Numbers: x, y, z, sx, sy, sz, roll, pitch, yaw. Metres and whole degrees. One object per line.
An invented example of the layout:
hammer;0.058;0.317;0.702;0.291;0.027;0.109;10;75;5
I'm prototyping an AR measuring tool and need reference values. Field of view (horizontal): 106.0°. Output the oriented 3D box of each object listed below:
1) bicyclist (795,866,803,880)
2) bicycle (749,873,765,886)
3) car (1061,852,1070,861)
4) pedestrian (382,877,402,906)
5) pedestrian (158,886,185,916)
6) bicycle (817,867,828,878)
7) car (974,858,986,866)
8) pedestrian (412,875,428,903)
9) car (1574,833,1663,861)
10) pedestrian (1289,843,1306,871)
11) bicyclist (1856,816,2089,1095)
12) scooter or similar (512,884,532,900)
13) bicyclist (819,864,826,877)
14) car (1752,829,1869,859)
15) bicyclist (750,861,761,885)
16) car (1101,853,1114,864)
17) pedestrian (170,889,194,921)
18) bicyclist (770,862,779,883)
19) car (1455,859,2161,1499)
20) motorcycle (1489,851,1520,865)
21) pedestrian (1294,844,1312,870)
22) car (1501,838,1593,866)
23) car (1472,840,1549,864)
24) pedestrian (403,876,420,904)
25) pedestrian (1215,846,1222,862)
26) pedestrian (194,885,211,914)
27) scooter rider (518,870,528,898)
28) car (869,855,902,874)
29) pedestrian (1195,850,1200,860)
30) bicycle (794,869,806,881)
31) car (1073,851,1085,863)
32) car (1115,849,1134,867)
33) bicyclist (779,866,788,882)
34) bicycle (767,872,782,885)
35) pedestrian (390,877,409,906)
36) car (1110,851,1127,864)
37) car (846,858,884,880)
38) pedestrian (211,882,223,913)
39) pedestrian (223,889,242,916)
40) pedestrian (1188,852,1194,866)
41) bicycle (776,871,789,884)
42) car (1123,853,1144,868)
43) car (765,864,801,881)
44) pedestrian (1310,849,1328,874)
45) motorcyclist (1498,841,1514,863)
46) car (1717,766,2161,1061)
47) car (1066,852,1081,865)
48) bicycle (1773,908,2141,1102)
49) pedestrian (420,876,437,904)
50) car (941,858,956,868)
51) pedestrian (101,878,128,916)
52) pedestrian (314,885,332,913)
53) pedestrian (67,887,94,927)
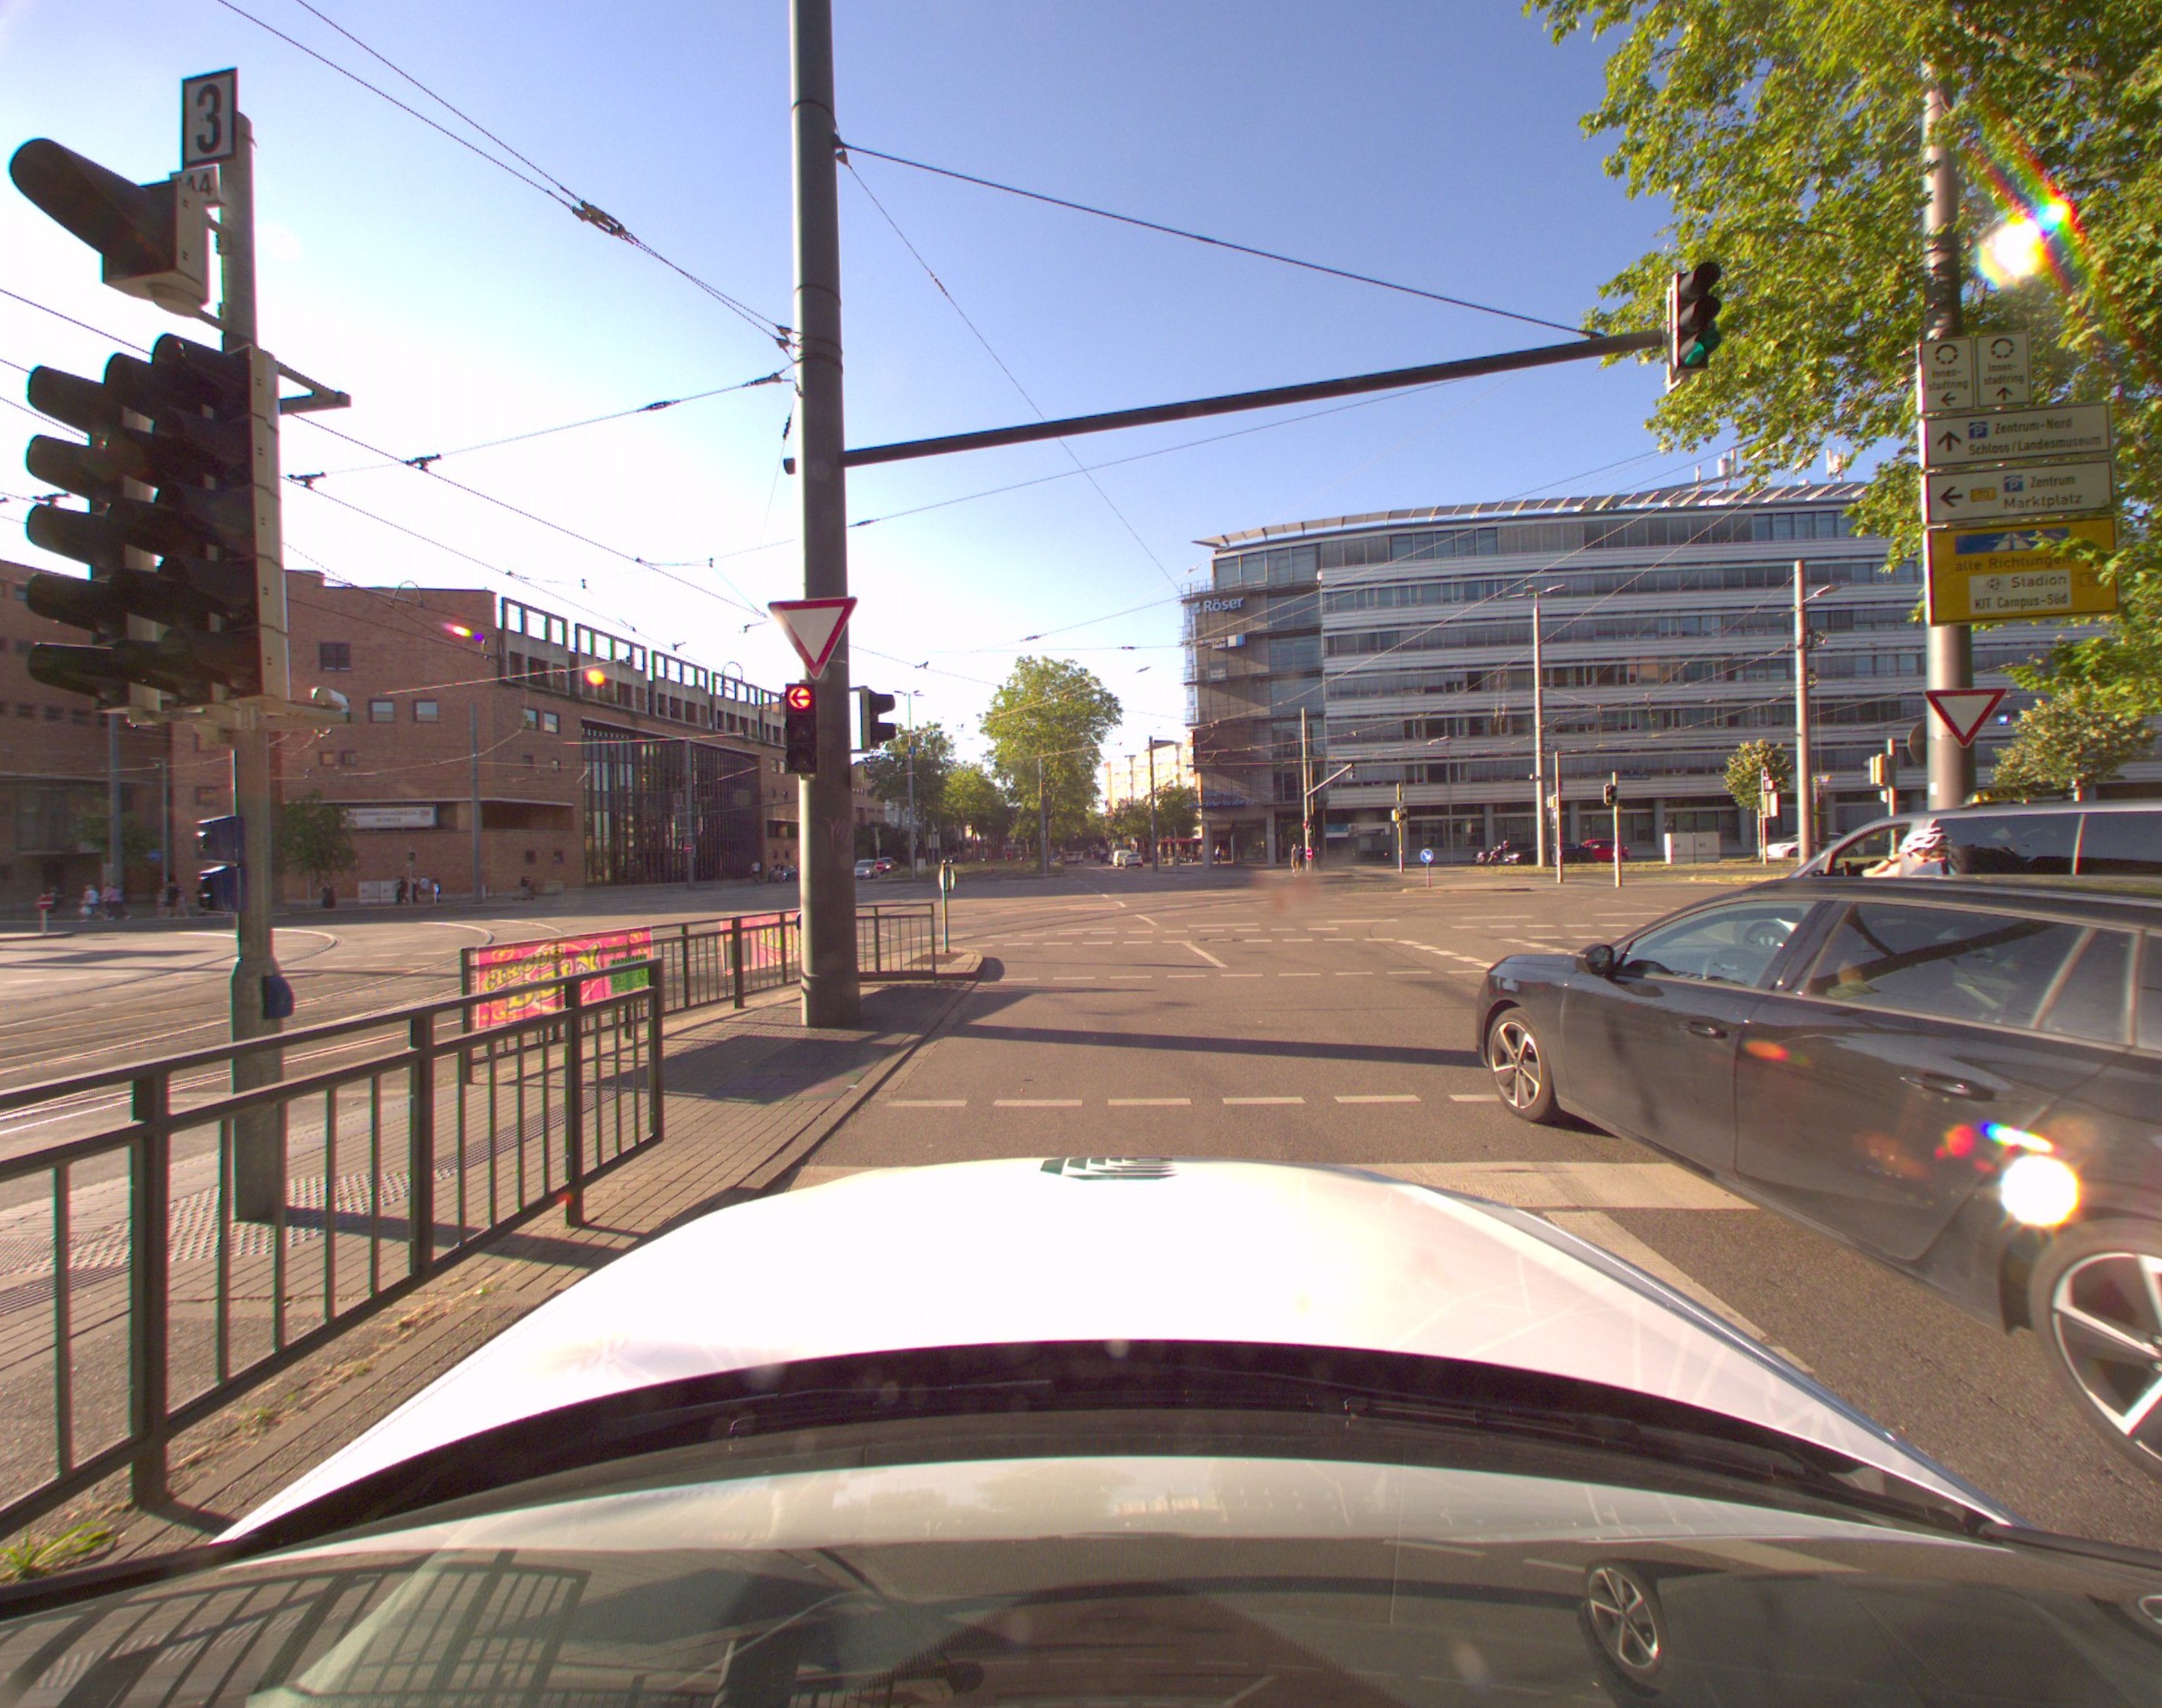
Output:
bicyclist;-24.361;1.645;70.354;0.503;1.179;0.581;-2;0;1
bicycle;-24.584;1.917;61.769;0.540;0.963;1.587;-2;0;2
car;-3.699;0.658;198.062;1.986;2.013;4.001;-2;0;1
pedestrian;-41.666;2.241;49.224;0.619;1.683;0.649;-2;0;-7
pedestrian;-41.272;2.132;36.964;0.596;1.339;0.685;-2;0;31
bicycle;-24.582;1.741;77.569;0.490;0.963;1.487;-2;0;2
car;-23.193;1.889;186.765;1.986;1.816;4.002;-2;0;2
pedestrian;-41.344;2.195;50.941;0.592;1.683;0.501;-2;0;-7
car;31.932;-0.394;48.480;3.966;1.393;1.789;-4;0;7
pedestrian;13.951;0.181;52.503;0.860;1.788;0.872;-2;0;2
bicyclist;5.840;0.621;5.388;0.629;1.692;0.780;-2;0;1
scooter or similar;-33.727;2.284;49.150;0.956;0.899;0.173;-2;0;-45
bicyclist;-24.565;1.531;77.402;0.503;1.210;0.581;-2;0;1
car;40.209;-0.557;44.950;4.581;1.336;1.789;-4;0;7
bicyclist;-24.617;1.424;61.633;0.534;1.731;0.581;-2;0;1
car;4.092;0.658;126.778;1.986;1.618;4.002;-2;0;2
pedestrian;-41.788;2.355;37.846;0.562;1.453;0.618;-2;0;30
bicyclist;-23.494;1.428;62.455;0.456;1.603;0.581;-2;0;1
car;3.304;0.750;3.147;1.734;1.414;4.269;-1;0;-1
motorcycle;25.479;0.237;49.012;1.560;0.810;0.468;-2;0;6
pedestrian;14.621;0.195;53.705;0.908;1.685;1.037;-2;0;6
car;26.408;-0.125;46.236;4.136;1.398;1.789;-2;0;7
car;28.186;-0.112;53.550;4.136;1.398;1.789;-2;0;7
pedestrian;-41.119;2.185;50.039;0.547;1.683;0.572;-2;0;-7
pedestrian;13.191;0.016;77.965;0.608;1.507;0.580;-2;0;9
pedestrian;-46.089;2.388;42.735;0.537;1.463;0.583;-2;0;-45
scooter rider;-33.726;1.813;49.205;0.441;1.647;0.226;-2;0;-44
car;-18.116;0.967;75.528;1.987;1.640;4.001;-2;0;1
pedestrian;15.696;0.155;109.883;0.575;1.289;0.910;-2;0;2
bicycle;-24.359;1.806;70.556;0.449;0.963;1.348;-2;0;2
car;-0.387;0.522;146.536;1.986;1.912;4.002;-2;0;2
car;4.744;0.451;89.640;1.986;1.860;4.002;-2;0;2
bicyclist;-24.778;1.695;67.774;0.503;1.304;0.581;-2;0;1
bicycle;-23.490;1.880;62.419;0.471;0.963;1.576;-2;0;2
pedestrian;-40.633;2.232;48.554;0.547;1.683;0.592;-2;0;0
car;4.820;0.479;105.296;1.986;1.618;4.002;-2;0;2
car;-18.005;1.223;67.953;1.987;1.640;4.001;-2;0;1
pedestrian;-45.734;2.284;43.126;0.408;1.614;0.404;-2;0;43
pedestrian;-45.267;2.587;43.439;0.549;1.427;0.563;-2;0;30
pedestrian;14.154;0.626;104.897;0.741;1.714;0.612;-2;0;1
bicycle;-24.801;1.956;67.688;0.466;0.963;1.320;-2;0;2
car;5.290;0.622;82.822;1.986;1.376;4.002;-2;0;2
car;-27.470;1.701;75.176;1.661;1.436;4.001;-2;0;1
pedestrian;15.673;0.498;53.622;0.943;1.564;0.899;-2;0;8
motorcyclist;25.567;-0.138;49.015;0.708;1.275;0.460;-2;0;5
car;8.229;0.367;6.780;1.929;1.979;5.099;-2;0;1
car;-1.166;0.680;129.449;1.953;1.848;5.333;-2;0;2
bicycle;5.869;0.936;5.654;0.558;0.981;1.871;-2;0;2
pedestrian;-40.273;2.199;50.260;0.572;1.683;0.546;-2;0;-7
car;-24.270;1.624;149.449;1.986;1.816;4.002;-2;0;2
pedestrian;-42.708;1.879;35.978;0.592;1.614;0.592;-2;0;-34
pedestrian;-41.594;2.449;44.709;0.490;1.506;0.547;-2;0;-15
pedestrian;-42.935;2.255;34.960;0.551;1.648;0.595;-2;0;-33
